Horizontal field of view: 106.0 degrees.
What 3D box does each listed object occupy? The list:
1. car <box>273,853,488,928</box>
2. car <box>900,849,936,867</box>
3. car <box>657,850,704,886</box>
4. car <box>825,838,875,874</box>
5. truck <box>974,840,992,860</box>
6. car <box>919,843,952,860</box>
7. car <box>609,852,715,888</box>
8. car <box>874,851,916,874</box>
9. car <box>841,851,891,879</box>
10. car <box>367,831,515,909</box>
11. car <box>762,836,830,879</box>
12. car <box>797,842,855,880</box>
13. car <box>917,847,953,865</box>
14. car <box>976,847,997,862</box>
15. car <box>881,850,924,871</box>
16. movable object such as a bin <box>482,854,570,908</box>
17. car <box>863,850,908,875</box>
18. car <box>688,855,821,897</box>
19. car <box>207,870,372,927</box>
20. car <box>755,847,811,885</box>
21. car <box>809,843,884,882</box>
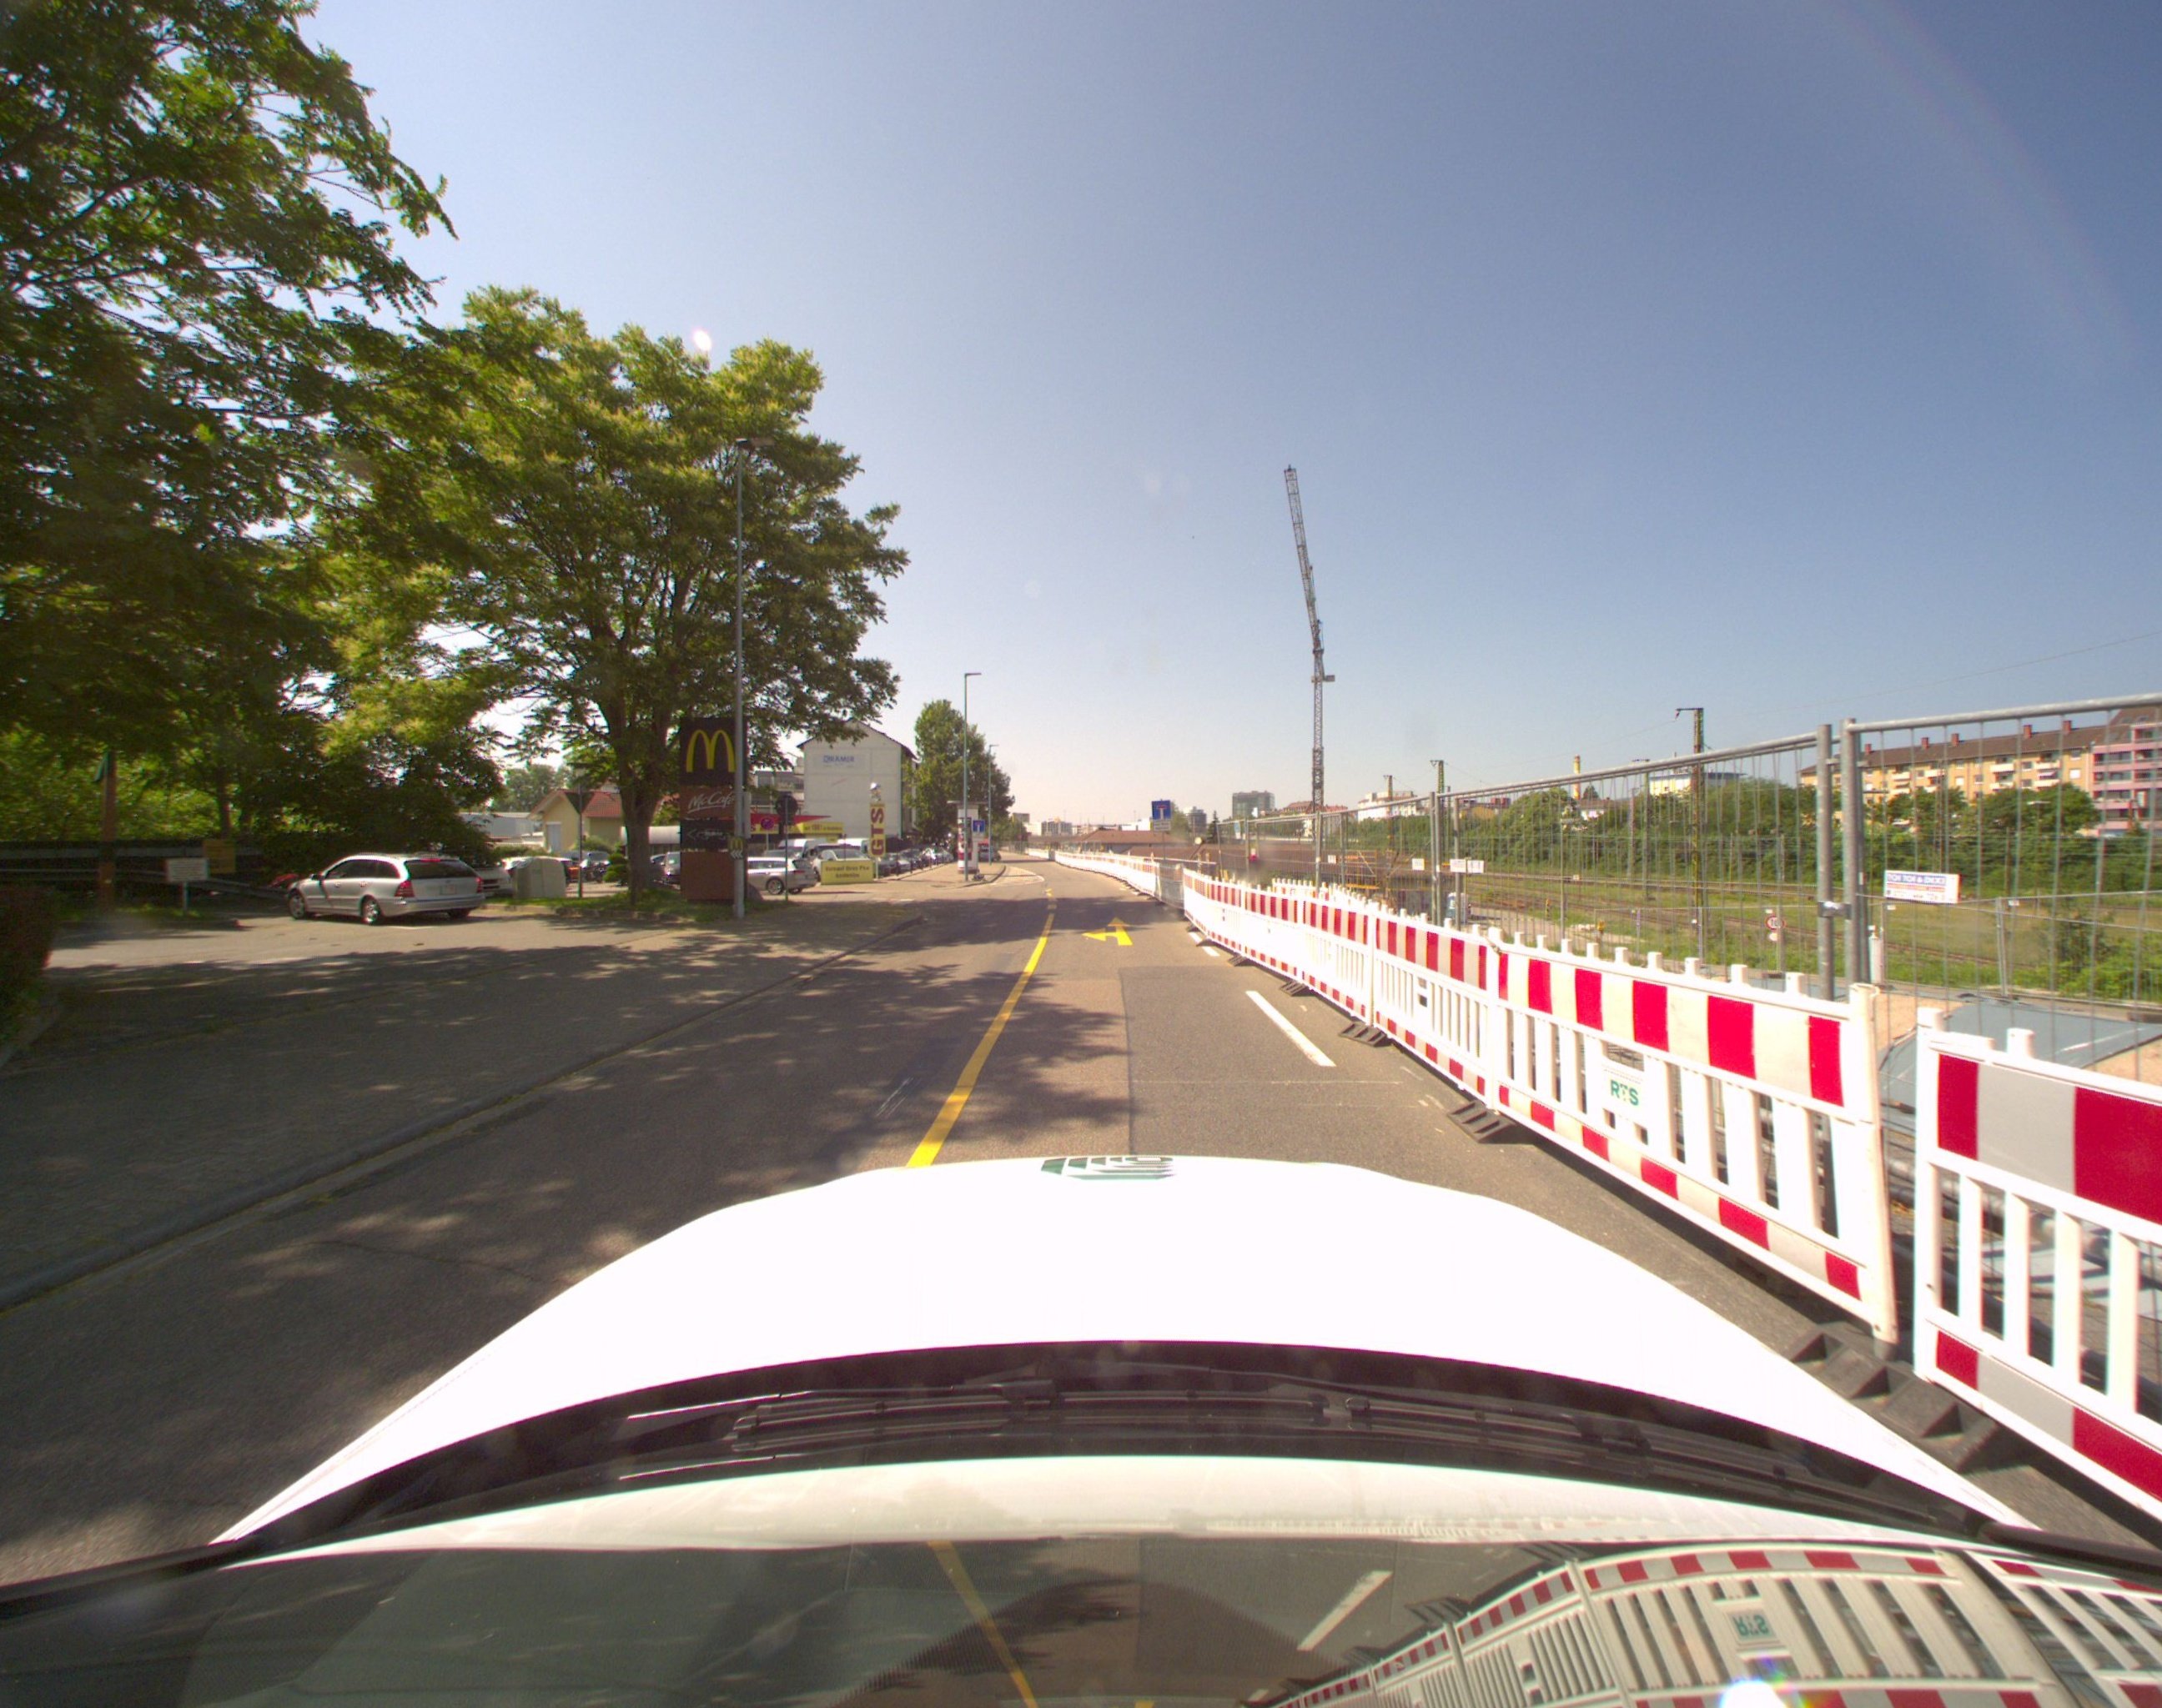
[{"bbox_3d":[-14.810,0.705,17.200,4.333,1.403,1.724,0,1,24],"label":"car"},{"bbox_3d":[-14.278,0.385,71.411,1.679,1.473,3.958,-4,1,-33],"label":"car"},{"bbox_3d":[-20.159,0.654,40.896,1.816,1.656,4.273,-2,1,-30],"label":"car"},{"bbox_3d":[-16.802,0.182,59.550,2.241,2.430,5.710,2,-1,-4],"label":"car"},{"bbox_3d":[-13.230,-0.511,110.011,2.236,2.648,5.668,-1,0,-7],"label":"truck"},{"bbox_3d":[-18.255,-0.318,102.125,3.927,1.958,1.752,1,0,-13],"label":"car"},{"bbox_3d":[-23.713,0.868,46.208,4.920,1.842,2.136,-1,0,-43],"label":"car"},{"bbox_3d":[-13.325,0.593,58.191,1.792,1.473,3.961,-4,1,-31],"label":"car"},{"bbox_3d":[-12.520,0.637,47.267,1.847,1.473,3.963,-4,1,-28],"label":"car"},{"bbox_3d":[-18.407,0.474,23.377,4.466,1.920,1.905,-4,1,33],"label":"car"},{"bbox_3d":[-19.329,0.240,55.592,2.268,2.758,6.156,-1,0,2],"label":"car"},{"bbox_3d":[-16.569,0.454,53.205,2.239,2.350,4.821,-1,-1,-1],"label":"car"},{"bbox_3d":[-13.491,0.201,75.100,1.789,1.473,3.958,-4,1,-33],"label":"car"},{"bbox_3d":[-10.504,0.081,90.786,1.864,1.498,4.029,-1,1,-2],"label":"car"},{"bbox_3d":[-13.678,0.536,62.228,1.680,1.473,3.956,-4,1,-36],"label":"car"},{"bbox_3d":[-17.499,0.829,25.711,1.755,1.526,1.463,-2,2,20],"label":"movable object such as a bin"},{"bbox_3d":[-12.698,0.566,52.861,1.847,1.473,3.963,-4,1,-28],"label":"car"},{"bbox_3d":[-12.855,0.850,32.203,4.571,1.493,1.684,-1,0,3],"label":"car"},{"bbox_3d":[-25.612,1.392,26.472,1.672,1.465,3.428,-1,3,28],"label":"car"},{"bbox_3d":[-14.874,0.623,40.488,2.054,1.707,4.276,-2,-1,-27],"label":"car"},{"bbox_3d":[-12.227,0.478,42.225,1.992,1.707,4.609,-3,-1,-40],"label":"car"}]
